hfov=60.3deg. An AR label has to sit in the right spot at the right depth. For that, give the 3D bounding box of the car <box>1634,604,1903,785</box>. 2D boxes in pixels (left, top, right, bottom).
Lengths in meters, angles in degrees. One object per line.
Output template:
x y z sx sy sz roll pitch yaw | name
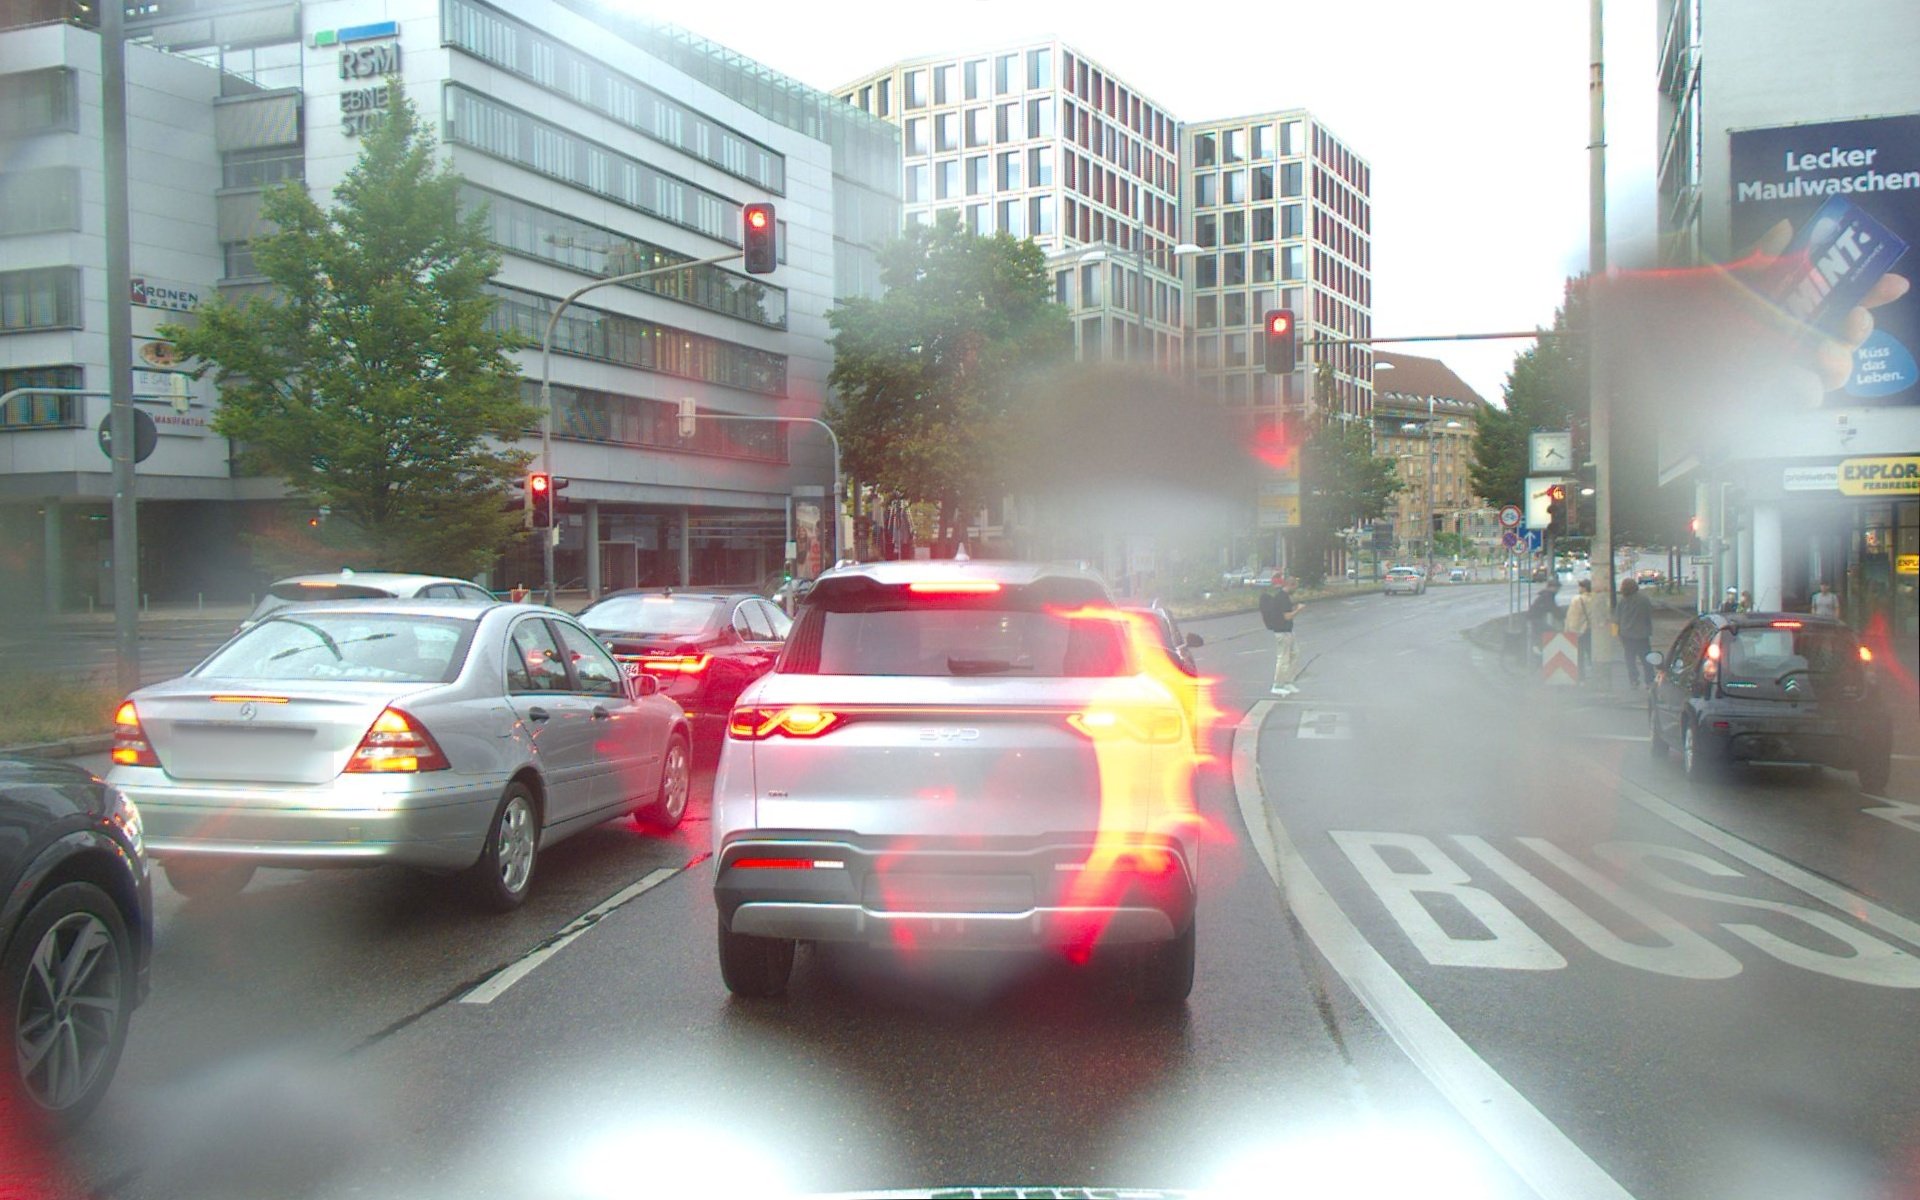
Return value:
7.474 0.785 15.637 1.537 1.454 4.003 1 0 15 | car

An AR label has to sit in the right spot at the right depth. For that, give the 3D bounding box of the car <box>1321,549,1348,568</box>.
37.189 -4.084 164.213 1.577 1.771 3.437 1 0 31 | car

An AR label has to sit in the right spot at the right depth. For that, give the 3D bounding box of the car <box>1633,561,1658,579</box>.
62.775 -2.742 151.343 1.662 1.512 3.993 1 0 29 | car

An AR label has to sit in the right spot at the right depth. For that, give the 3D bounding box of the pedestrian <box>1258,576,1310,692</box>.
5.026 0.514 25.661 0.753 1.762 0.597 0 0 13 | pedestrian

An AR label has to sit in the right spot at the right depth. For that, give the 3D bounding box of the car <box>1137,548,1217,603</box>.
8.600 -0.940 65.305 1.953 2.049 4.848 1 0 22 | car

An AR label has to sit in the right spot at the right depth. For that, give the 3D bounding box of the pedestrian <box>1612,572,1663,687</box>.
10.997 0.460 26.865 0.733 1.829 0.817 0 1 20 | pedestrian

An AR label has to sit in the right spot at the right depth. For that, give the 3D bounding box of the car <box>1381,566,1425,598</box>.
23.816 -0.942 88.812 1.849 1.671 4.000 1 1 22 | car

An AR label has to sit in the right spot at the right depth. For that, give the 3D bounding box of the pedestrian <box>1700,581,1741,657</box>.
17.108 0.413 37.203 0.659 1.684 0.649 1 0 43 | pedestrian

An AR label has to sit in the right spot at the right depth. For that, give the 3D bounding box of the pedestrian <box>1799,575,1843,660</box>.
18.730 0.371 35.973 0.659 1.825 0.768 1 0 43 | pedestrian

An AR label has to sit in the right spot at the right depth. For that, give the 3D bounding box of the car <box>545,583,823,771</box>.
-2.435 0.639 15.573 1.537 1.512 4.003 1 0 6 | car

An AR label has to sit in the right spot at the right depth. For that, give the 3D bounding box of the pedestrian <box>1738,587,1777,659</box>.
17.661 0.505 36.644 0.615 1.570 0.649 1 0 43 | pedestrian

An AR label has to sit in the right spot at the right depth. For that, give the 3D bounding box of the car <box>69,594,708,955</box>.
-2.664 0.713 8.800 1.537 1.432 4.112 1 0 7 | car

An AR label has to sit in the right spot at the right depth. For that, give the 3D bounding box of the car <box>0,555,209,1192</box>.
-3.122 0.663 2.957 1.614 1.548 4.271 1 1 0 | car

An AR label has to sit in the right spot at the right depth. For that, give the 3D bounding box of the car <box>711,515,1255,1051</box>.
0.118 0.599 7.361 1.739 1.708 4.000 1 0 1 | car

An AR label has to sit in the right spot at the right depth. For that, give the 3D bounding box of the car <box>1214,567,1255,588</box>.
20.480 -1.664 123.440 1.955 1.514 3.996 0 1 27 | car

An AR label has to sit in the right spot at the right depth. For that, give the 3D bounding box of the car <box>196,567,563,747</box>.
-5.468 0.495 16.170 1.670 1.512 4.003 1 0 9 | car

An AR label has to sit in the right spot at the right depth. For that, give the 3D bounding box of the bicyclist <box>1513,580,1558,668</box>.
10.603 0.432 30.477 0.751 1.596 0.533 0 0 18 | bicyclist

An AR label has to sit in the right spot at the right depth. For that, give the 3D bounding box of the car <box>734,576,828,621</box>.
-6.648 -0.076 61.746 1.952 1.639 4.001 1 1 20 | car

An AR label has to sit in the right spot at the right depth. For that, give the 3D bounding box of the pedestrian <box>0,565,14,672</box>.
-15.748 0.290 26.508 0.663 1.713 0.764 0 0 13 | pedestrian

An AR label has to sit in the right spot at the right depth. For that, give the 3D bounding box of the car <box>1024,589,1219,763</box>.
1.730 0.679 16.639 1.657 1.512 4.003 1 0 10 | car

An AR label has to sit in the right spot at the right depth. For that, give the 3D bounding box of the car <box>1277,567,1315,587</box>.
25.992 -1.812 127.878 1.955 1.514 3.996 0 1 27 | car

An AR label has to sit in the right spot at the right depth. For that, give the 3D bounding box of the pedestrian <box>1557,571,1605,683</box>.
10.288 0.430 27.420 0.733 1.829 0.817 0 1 20 | pedestrian

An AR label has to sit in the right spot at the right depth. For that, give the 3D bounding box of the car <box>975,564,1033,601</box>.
1.994 -0.771 73.716 1.609 1.563 4.155 1 0 15 | car

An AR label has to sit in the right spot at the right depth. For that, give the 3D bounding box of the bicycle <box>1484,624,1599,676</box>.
10.689 0.916 30.445 1.982 0.904 0.403 0 0 17 | bicycle

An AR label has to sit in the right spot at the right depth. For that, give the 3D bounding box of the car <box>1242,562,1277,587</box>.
20.108 -1.682 110.859 1.610 1.608 4.086 1 0 21 | car

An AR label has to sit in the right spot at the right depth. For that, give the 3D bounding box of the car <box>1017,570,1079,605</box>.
3.767 -0.522 70.259 1.655 1.409 3.870 1 0 18 | car
